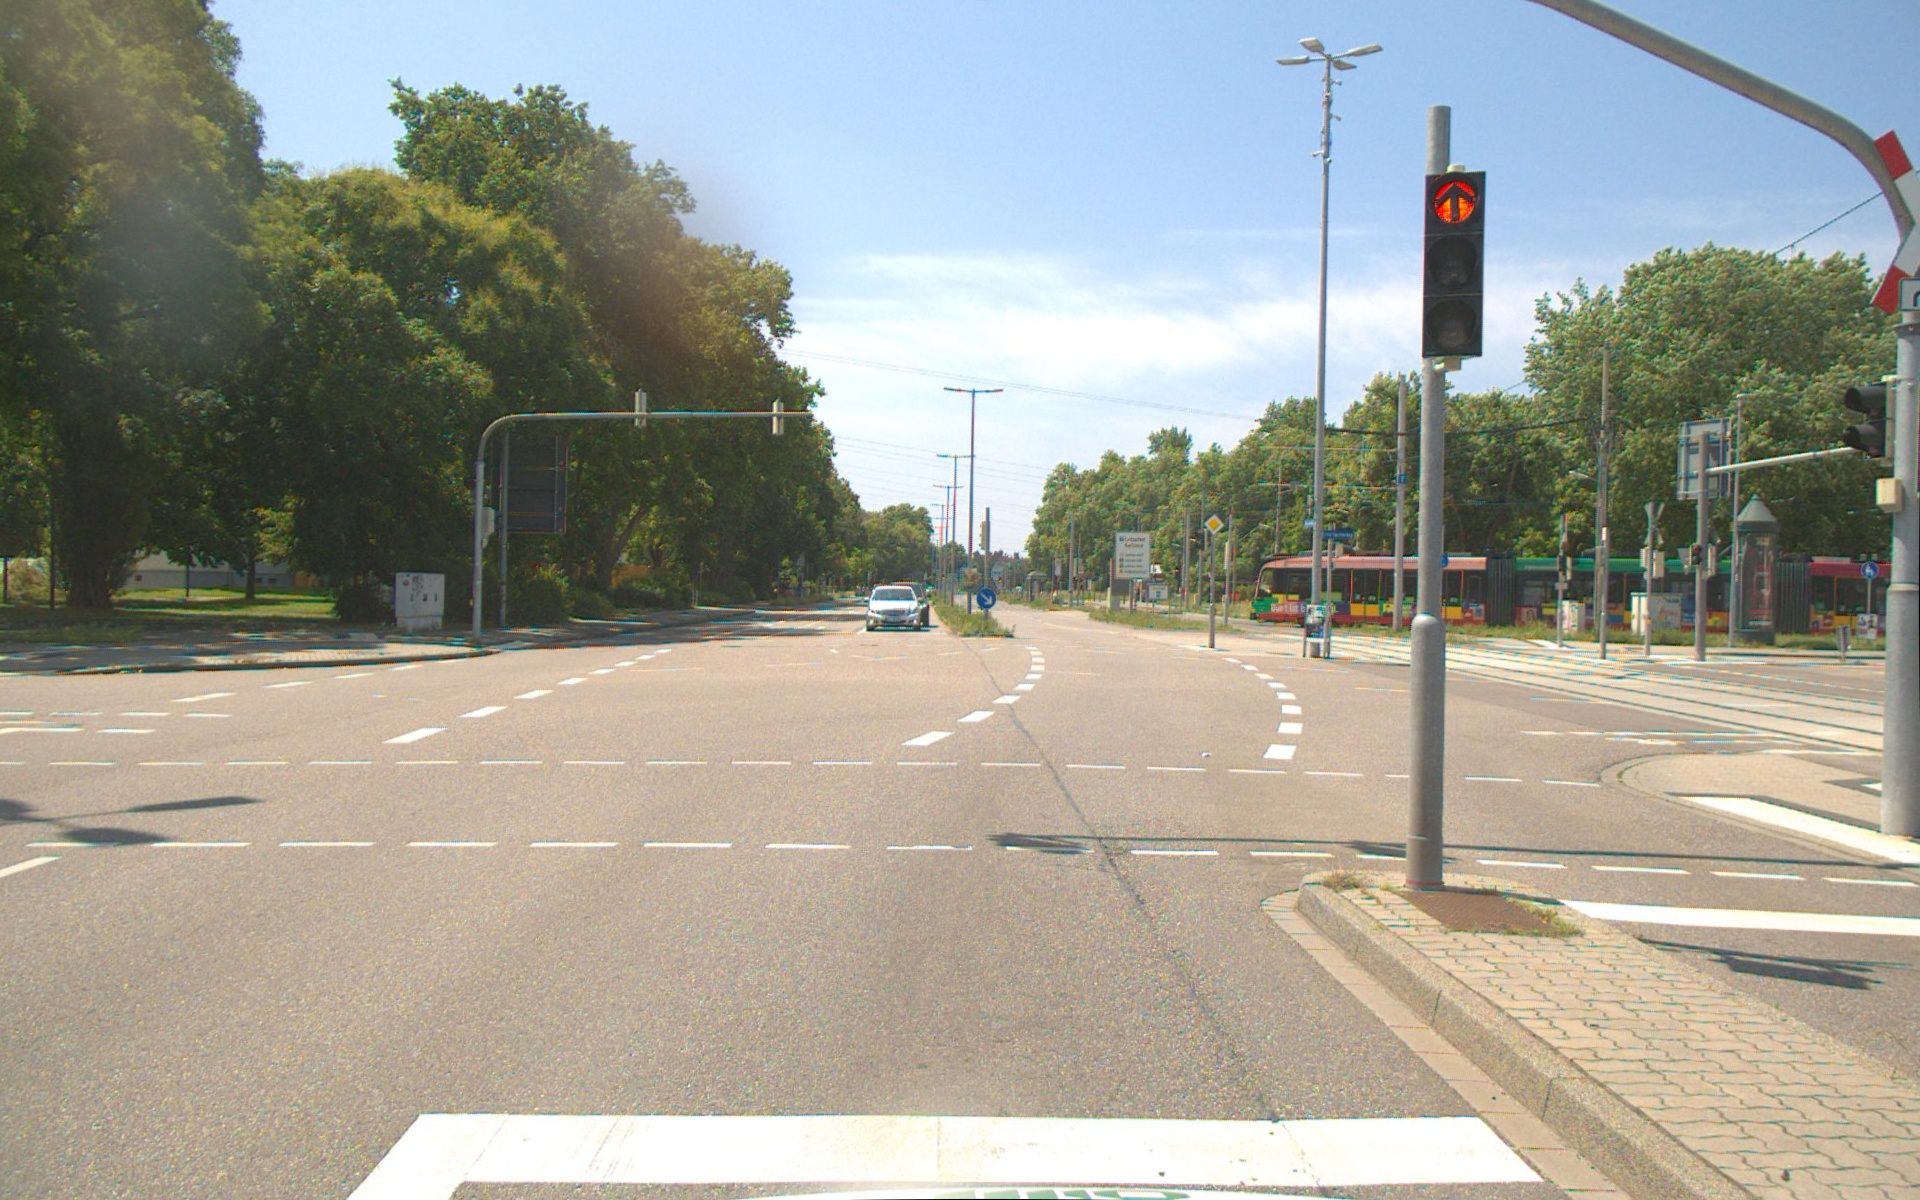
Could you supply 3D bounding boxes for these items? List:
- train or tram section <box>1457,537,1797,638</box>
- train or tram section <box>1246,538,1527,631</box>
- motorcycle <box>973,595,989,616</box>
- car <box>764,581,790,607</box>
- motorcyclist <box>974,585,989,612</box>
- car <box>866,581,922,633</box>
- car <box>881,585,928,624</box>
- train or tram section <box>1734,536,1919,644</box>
[{"bbox_3d":[28.167,-0.556,70.568,13.133,3.878,2.924,1,-3,19],"label":"train or tram section"},{"bbox_3d":[19.407,-0.632,76.373,12.853,3.878,2.903,0,-3,44],"label":"train or tram section"},{"bbox_3d":[1.349,0.320,104.817,0.830,1.277,2.448,2,0,-2],"label":"motorcycle"},{"bbox_3d":[-16.112,-0.523,145.614,1.955,2.048,3.997,4,0,-4],"label":"car"},{"bbox_3d":[1.361,-0.108,104.767,0.774,1.671,1.210,2,0,-3],"label":"motorcyclist"},{"bbox_3d":[-2.180,0.218,55.559,1.748,1.657,3.865,1,0,-1],"label":"car"},{"bbox_3d":[-2.068,0.145,62.901,1.676,1.389,3.865,1,0,-1],"label":"car"},{"bbox_3d":[39.691,-0.231,69.289,13.732,3.988,2.918,3,-3,-7],"label":"train or tram section"}]
